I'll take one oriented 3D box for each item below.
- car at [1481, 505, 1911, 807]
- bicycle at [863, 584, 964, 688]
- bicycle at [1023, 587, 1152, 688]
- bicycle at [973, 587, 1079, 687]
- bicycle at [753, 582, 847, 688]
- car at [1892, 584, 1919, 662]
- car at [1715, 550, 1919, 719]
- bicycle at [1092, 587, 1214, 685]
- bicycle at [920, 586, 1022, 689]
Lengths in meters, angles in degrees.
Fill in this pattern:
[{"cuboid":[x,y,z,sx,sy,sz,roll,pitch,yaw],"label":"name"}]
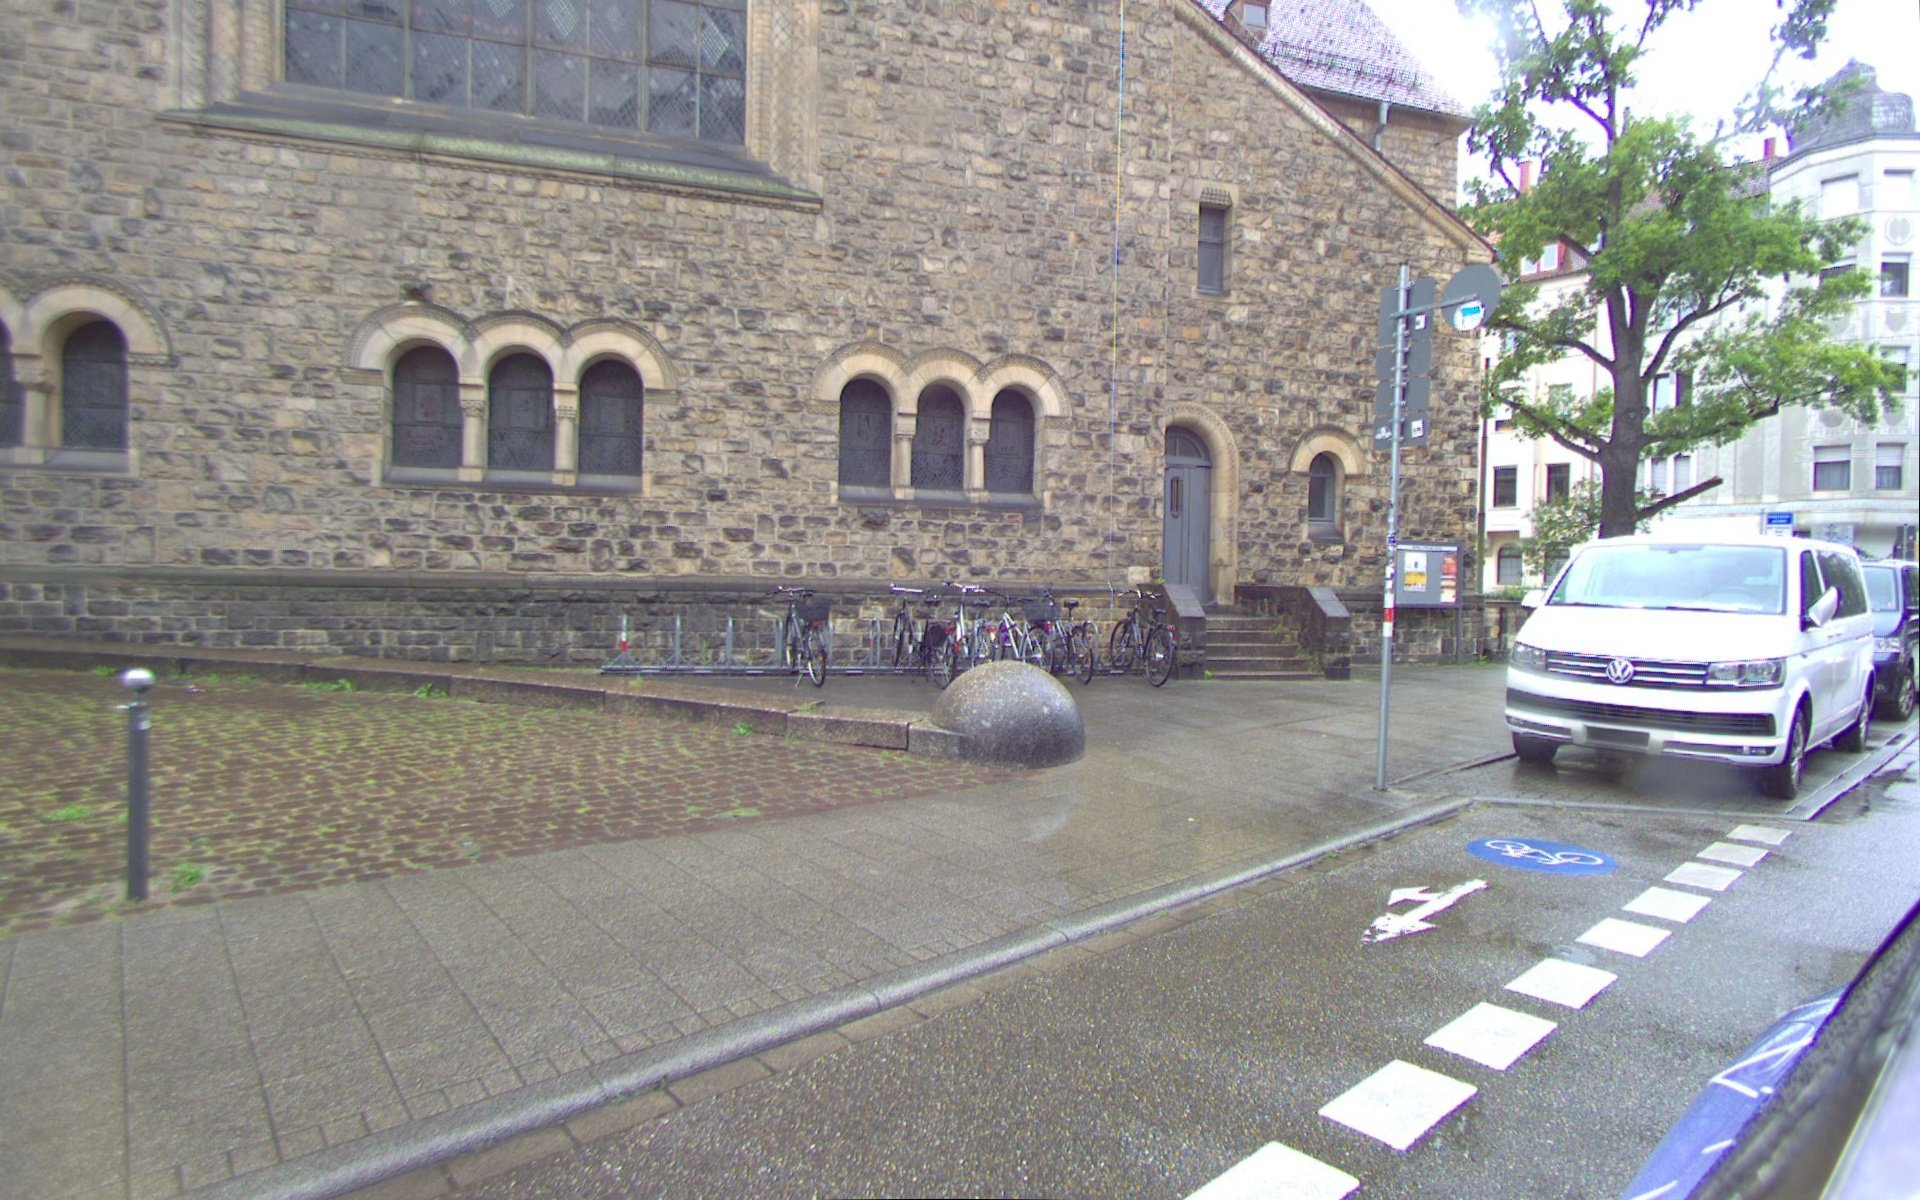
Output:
[{"cuboid":[6.706,0.320,8.944,5.180,1.946,1.908,0,2,-41],"label":"car"},{"cuboid":[-0.580,0.374,11.833,0.569,1.073,1.933,1,2,-21],"label":"bicycle"},{"cuboid":[1.510,0.409,12.425,0.663,1.073,2.161,1,2,-19],"label":"bicycle"},{"cuboid":[0.766,0.410,12.349,0.569,1.073,1.933,1,2,-19],"label":"bicycle"},{"cuboid":[-1.873,0.353,11.602,0.564,1.062,2.014,1,2,-23],"label":"bicycle"},{"cuboid":[21.360,0.489,21.613,3.850,1.568,1.674,0,2,-41],"label":"car"},{"cuboid":[11.636,0.343,13.310,4.220,1.869,1.836,0,2,-41],"label":"car"},{"cuboid":[2.386,0.413,12.791,0.593,1.080,1.987,1,2,-18],"label":"bicycle"},{"cuboid":[0.089,0.403,12.016,0.569,1.073,1.933,1,2,-19],"label":"bicycle"}]
